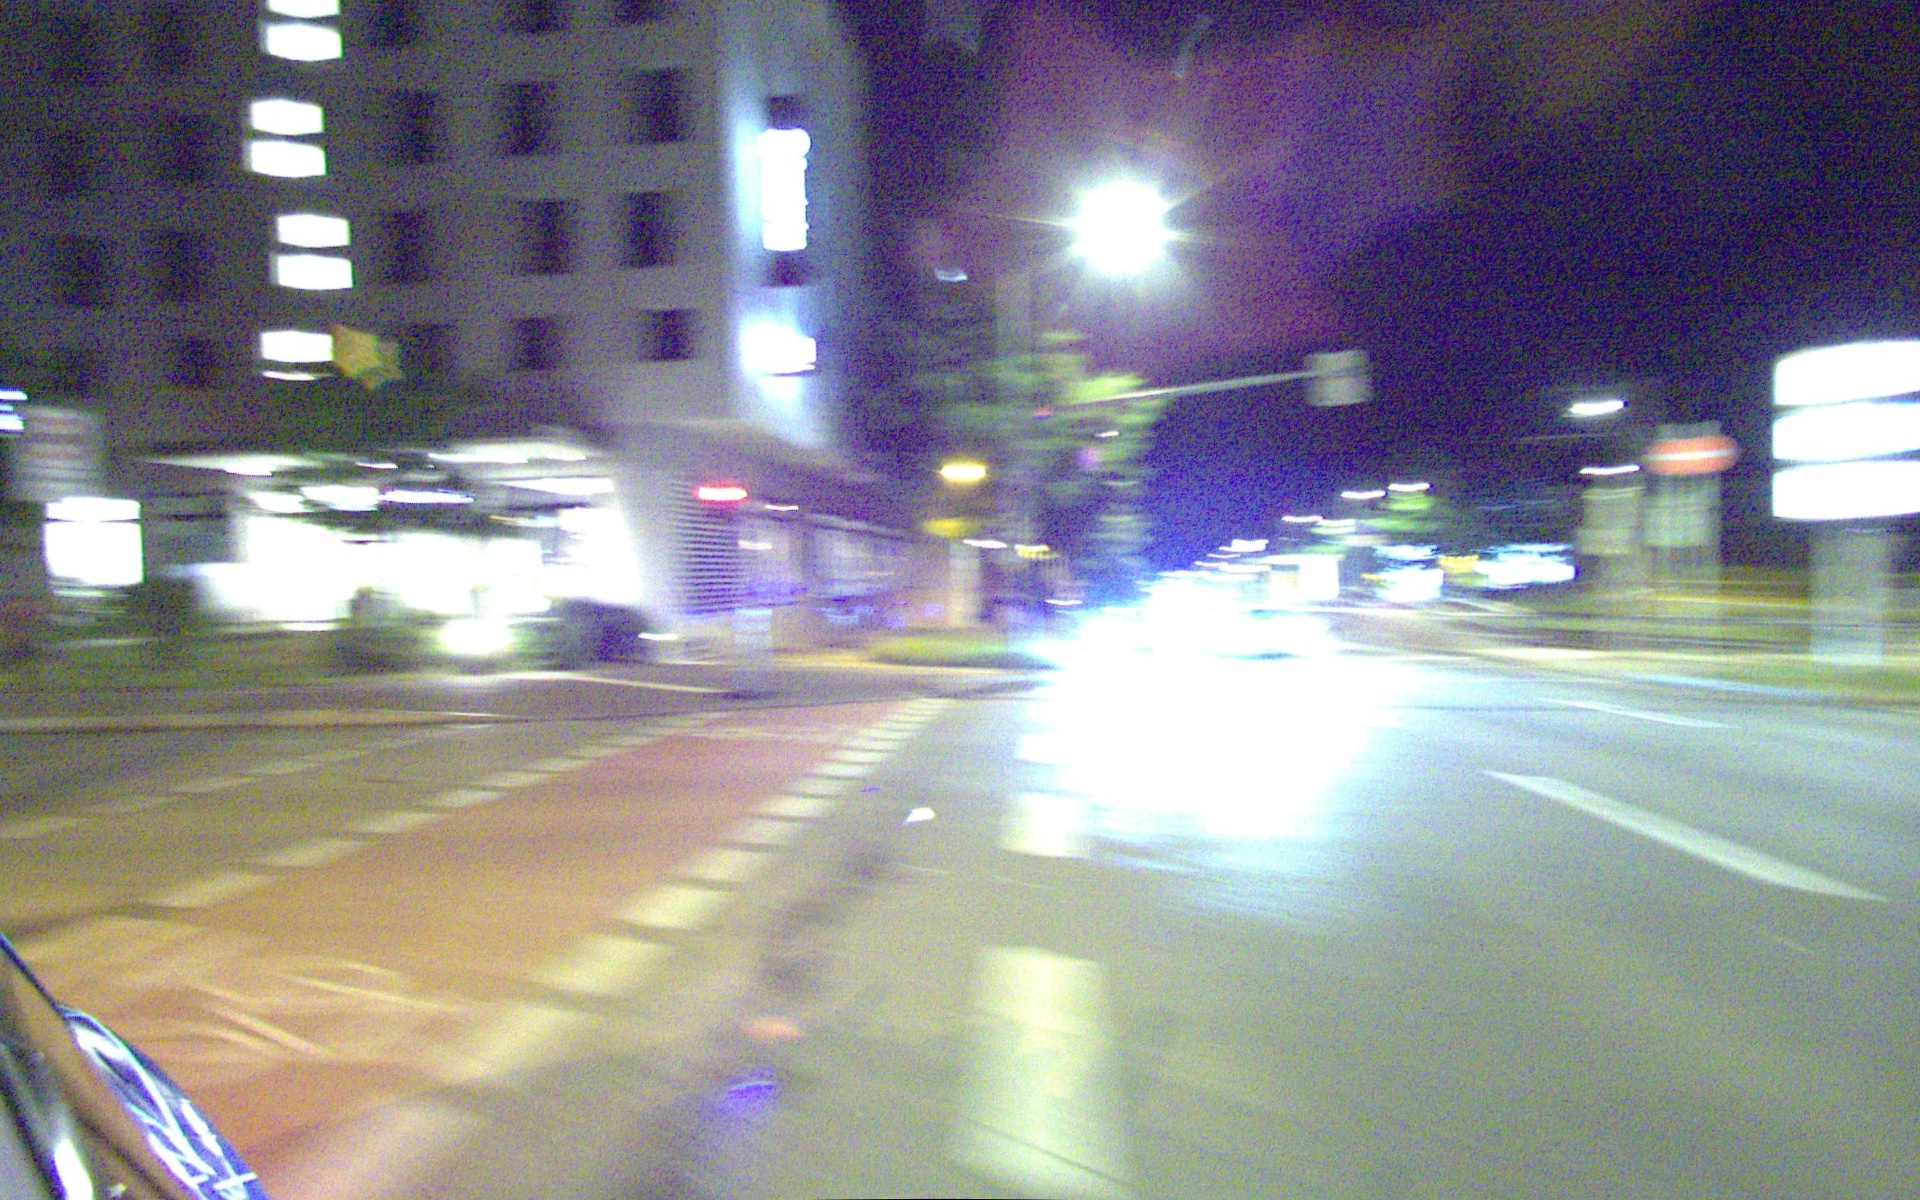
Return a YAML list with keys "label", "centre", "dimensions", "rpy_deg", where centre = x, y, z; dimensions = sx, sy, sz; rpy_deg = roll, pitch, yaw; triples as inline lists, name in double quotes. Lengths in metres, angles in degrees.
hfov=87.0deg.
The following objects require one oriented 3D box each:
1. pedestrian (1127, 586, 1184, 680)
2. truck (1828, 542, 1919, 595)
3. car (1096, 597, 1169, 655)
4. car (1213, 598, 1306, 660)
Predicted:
- label: "pedestrian"
  centre: [3.507, 0.582, 18.190]
  dimensions: [0.850, 1.646, 0.671]
  rpy_deg: [-1, -1, -2]
- label: "truck"
  centre: [57.757, -1.910, 62.739]
  dimensions: [2.874, 3.111, 5.911]
  rpy_deg: [-1, 1, 3]
- label: "car"
  centre: [5.153, 0.776, 29.876]
  dimensions: [1.888, 1.583, 3.983]
  rpy_deg: [0, -2, 13]
- label: "car"
  centre: [7.985, 0.745, 27.334]
  dimensions: [1.798, 1.514, 4.189]
  rpy_deg: [-1, -1, 9]
